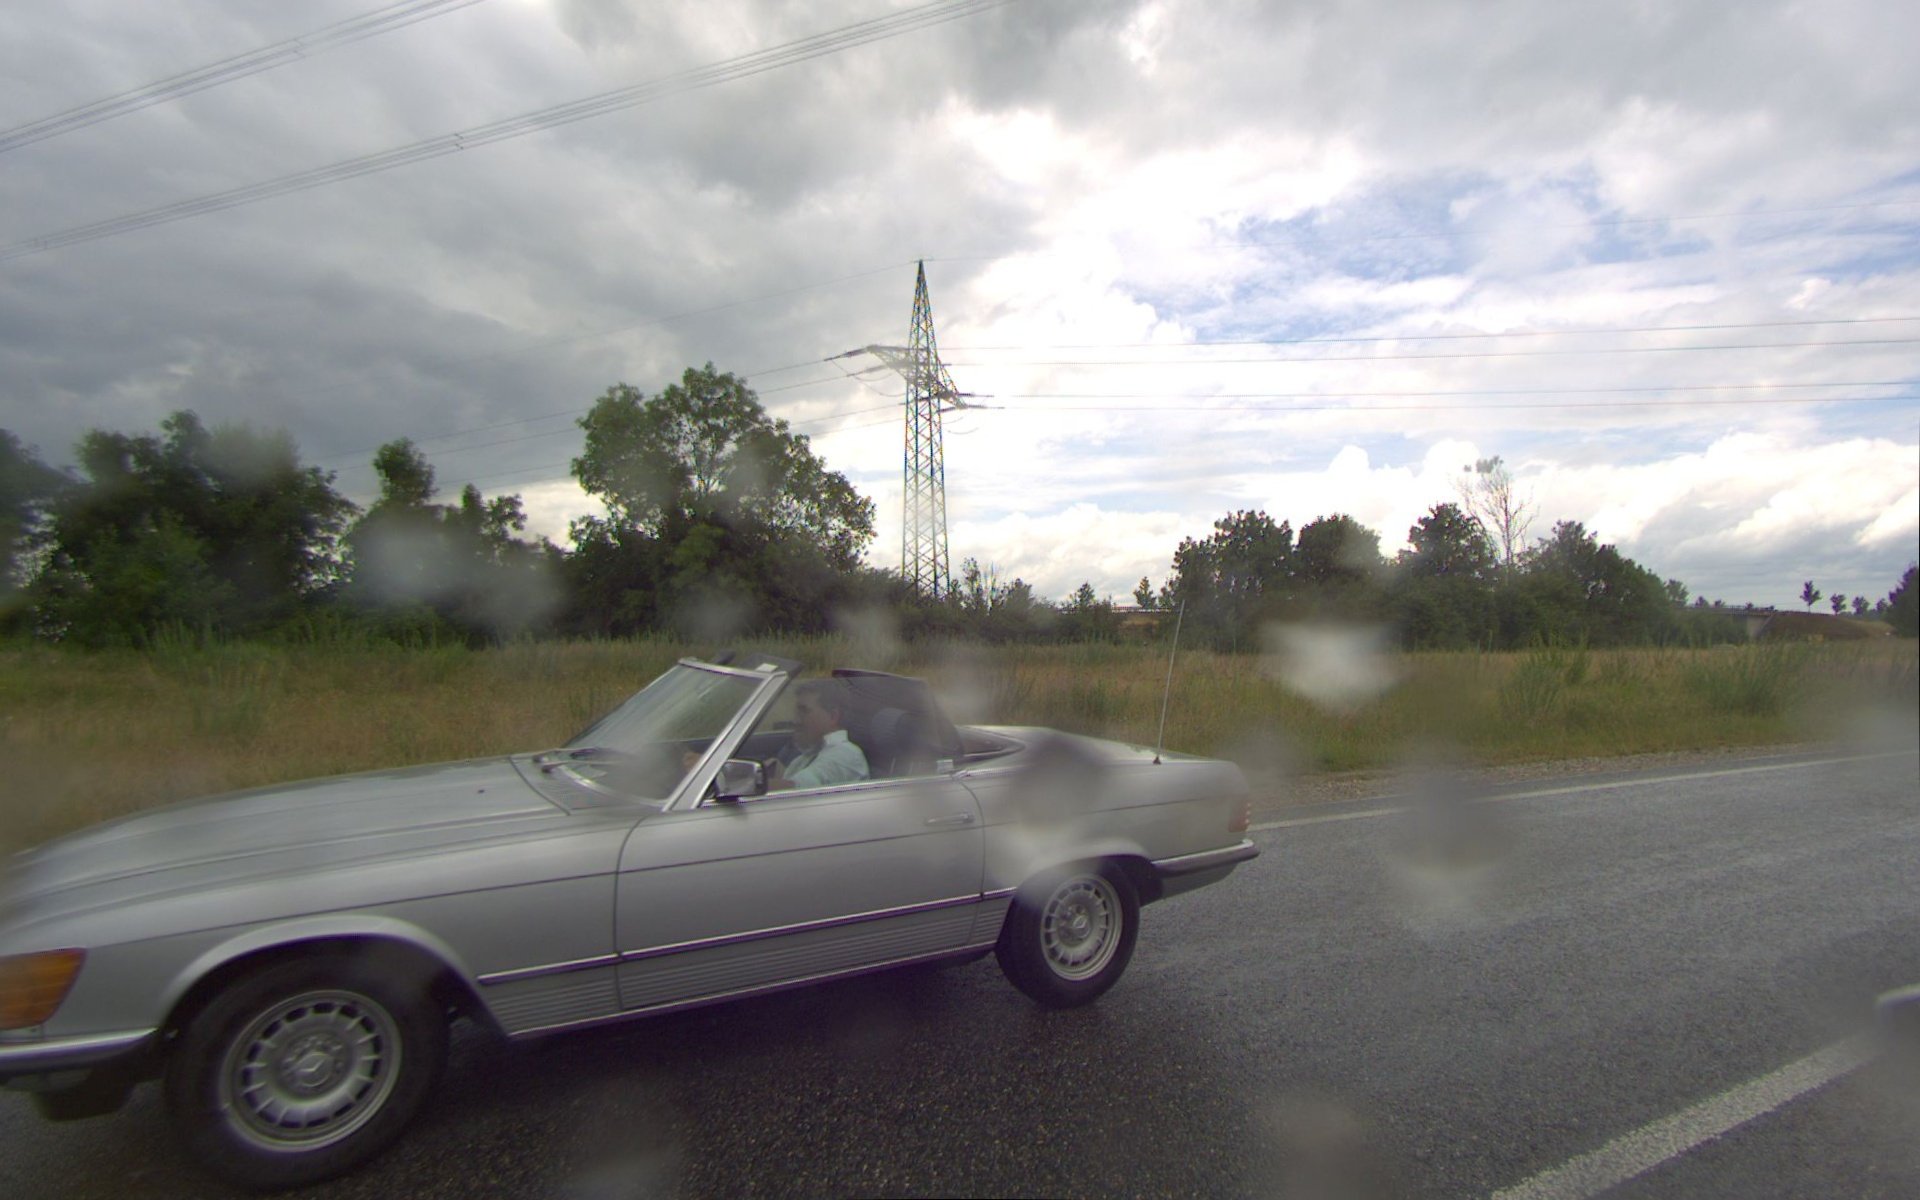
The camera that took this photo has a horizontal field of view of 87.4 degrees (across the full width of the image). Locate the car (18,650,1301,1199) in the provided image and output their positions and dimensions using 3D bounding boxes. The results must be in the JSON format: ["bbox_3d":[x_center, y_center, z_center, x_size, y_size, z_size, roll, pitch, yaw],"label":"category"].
[{"bbox_3d":[-0.717,0.845,3.903,3.953,1.267,1.711,2,-2,-30],"label":"car"}]
